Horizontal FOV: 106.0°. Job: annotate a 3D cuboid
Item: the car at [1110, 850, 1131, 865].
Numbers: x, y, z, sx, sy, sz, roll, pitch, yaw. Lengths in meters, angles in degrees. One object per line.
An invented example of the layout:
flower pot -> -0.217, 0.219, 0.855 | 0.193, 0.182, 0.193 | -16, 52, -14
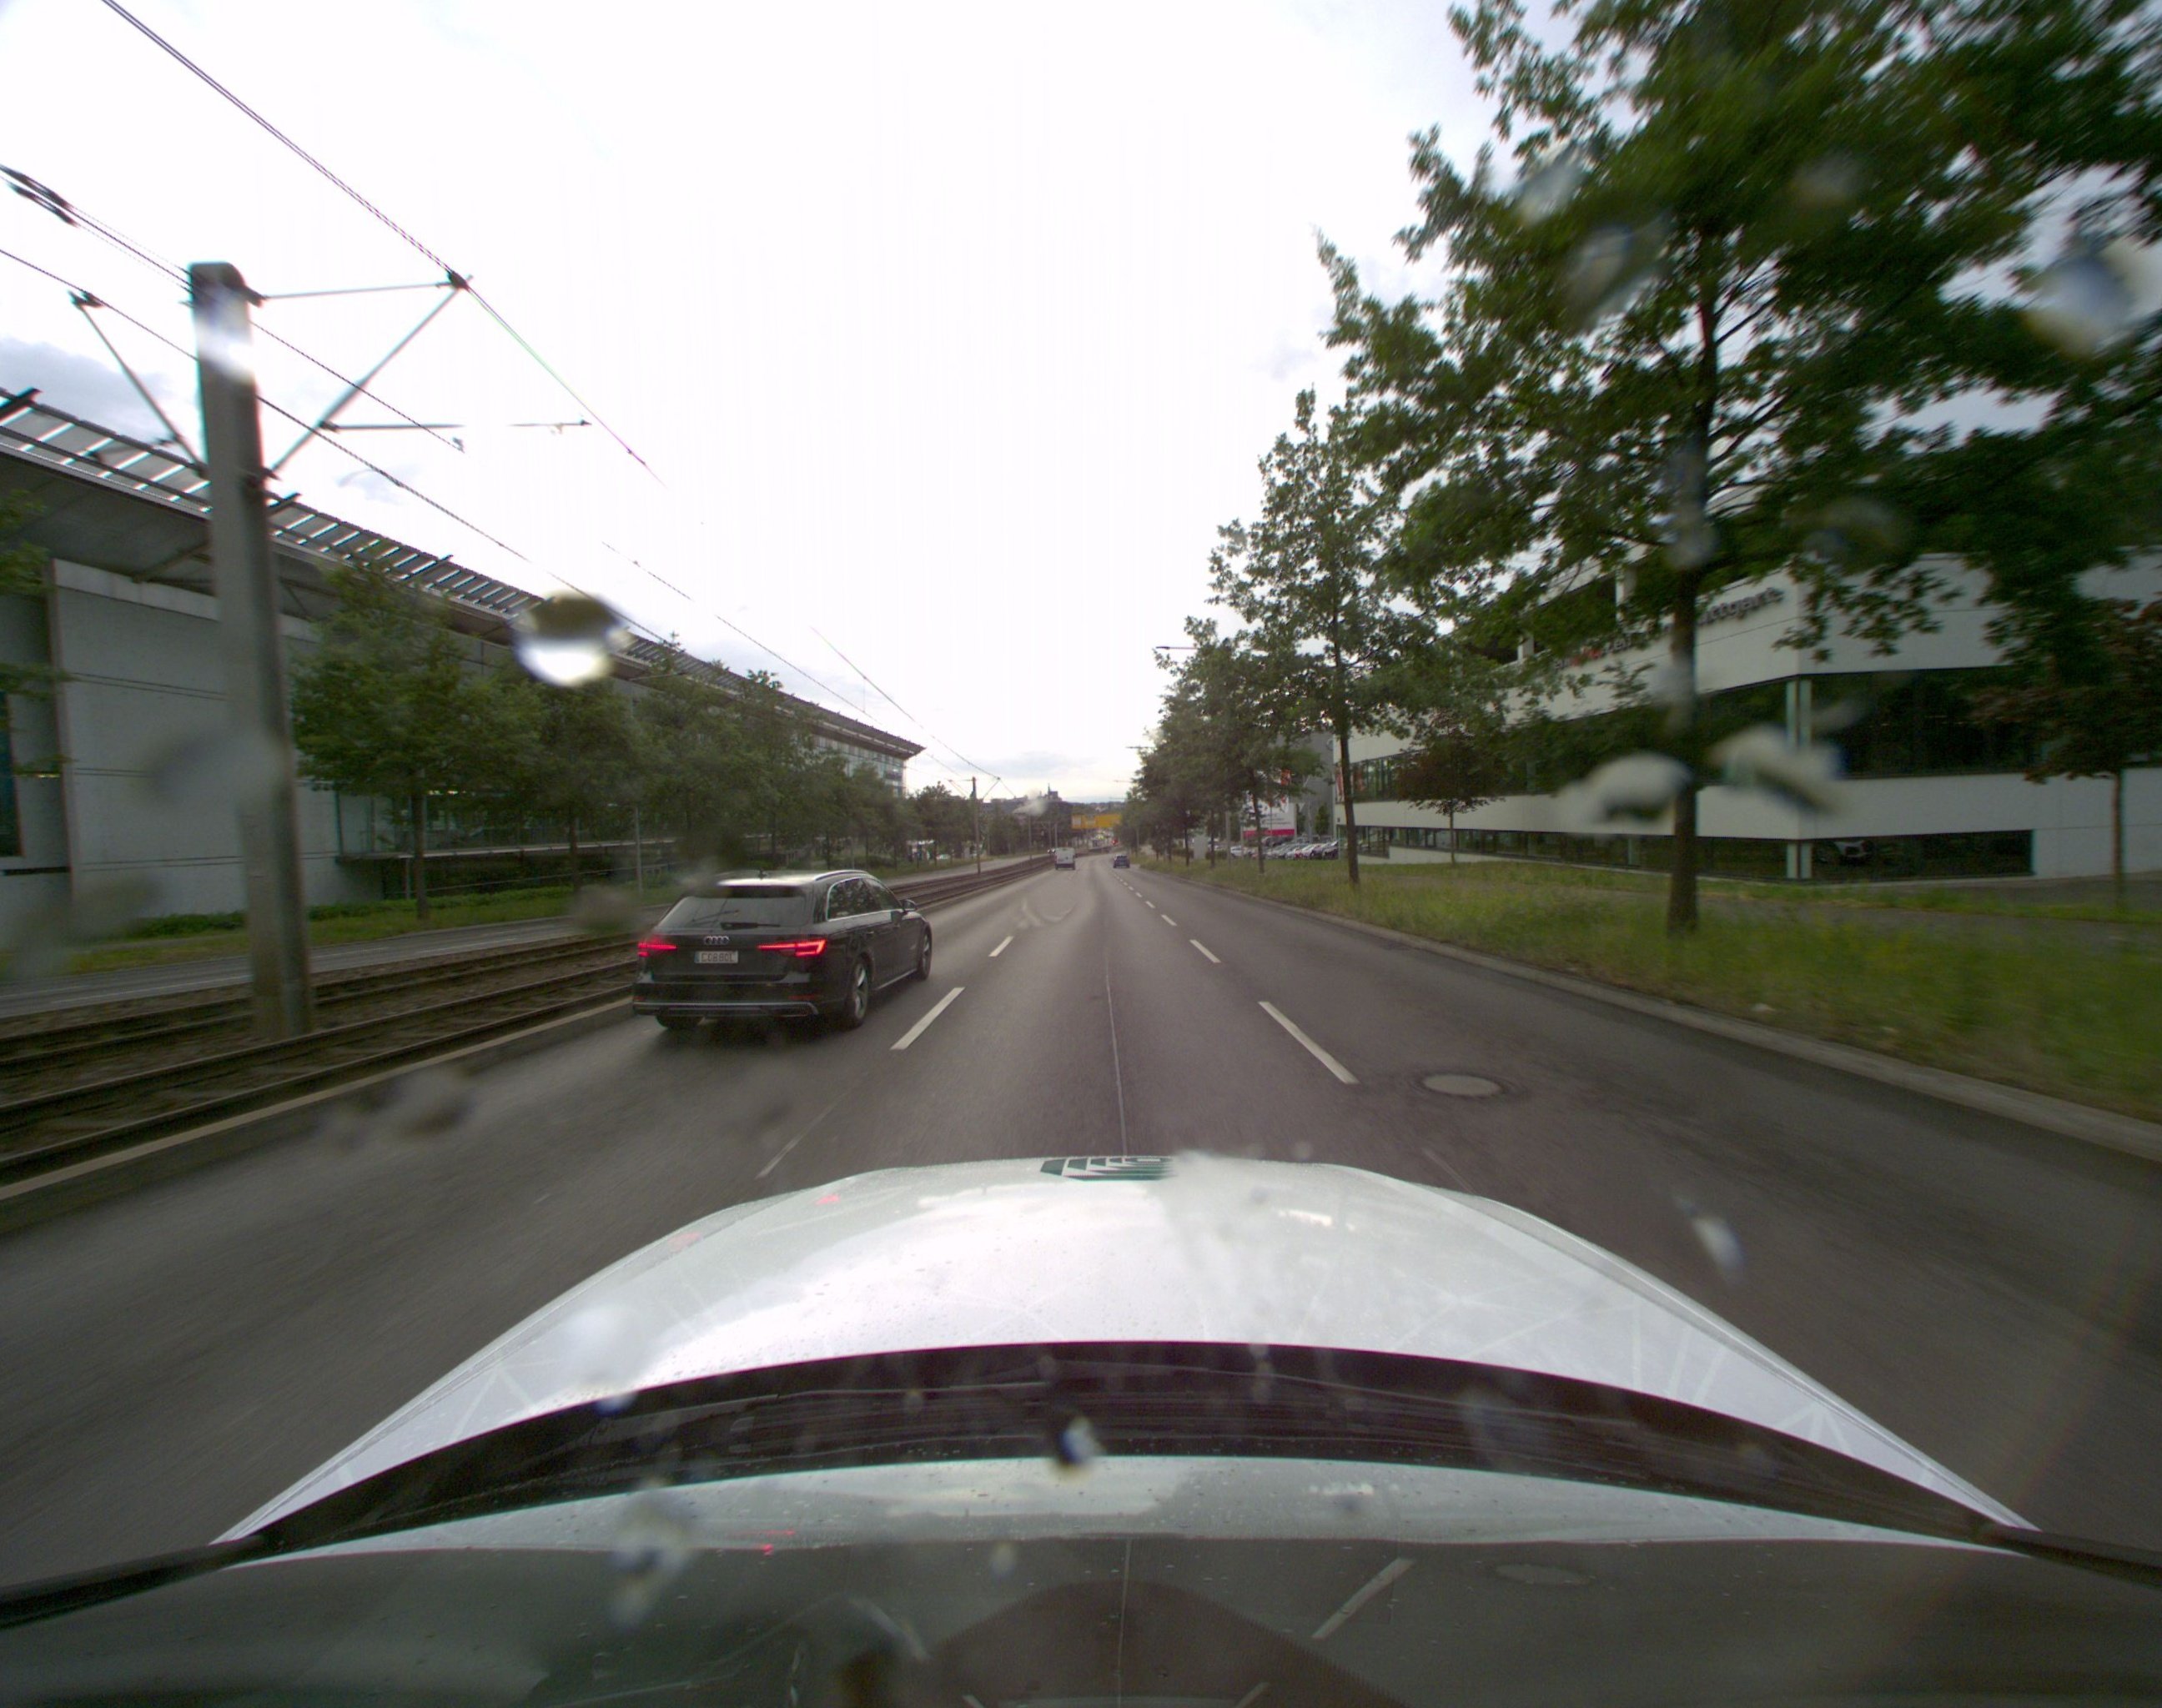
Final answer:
car -> 4.375, 0.376, 90.391 | 2.016, 1.623, 3.997 | 0, -1, -2

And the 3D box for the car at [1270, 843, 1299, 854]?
car -> 31.184, -0.874, 124.839 | 4.093, 1.574, 1.692 | -2, 1, -1

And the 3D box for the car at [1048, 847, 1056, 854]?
car -> -8.064, -0.976, 228.477 | 1.875, 1.520, 4.407 | -5, 1, 3

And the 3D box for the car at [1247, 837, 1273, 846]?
car -> 30.782, -2.185, 140.403 | 4.093, 1.574, 1.692 | -1, 1, -1

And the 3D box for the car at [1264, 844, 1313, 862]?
car -> 21.015, -0.111, 82.667 | 4.448, 1.551, 1.930 | -3, -1, -1

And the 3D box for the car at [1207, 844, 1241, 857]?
car -> 20.247, -0.462, 115.114 | 4.506, 1.594, 1.692 | -2, -1, -1

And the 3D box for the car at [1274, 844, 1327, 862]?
car -> 20.669, -0.067, 76.883 | 4.448, 1.456, 1.930 | -3, -1, -1

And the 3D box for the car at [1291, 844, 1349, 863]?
car -> 20.707, -0.061, 70.726 | 4.384, 1.348, 1.930 | -3, -1, -1

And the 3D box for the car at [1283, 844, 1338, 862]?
car -> 20.775, -0.116, 73.852 | 4.448, 1.456, 1.930 | -2, -1, -1

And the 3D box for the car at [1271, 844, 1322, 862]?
car -> 21.024, -0.111, 79.685 | 4.448, 1.528, 1.930 | -3, -1, -1

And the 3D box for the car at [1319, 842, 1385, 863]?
car -> 20.419, -0.117, 61.429 | 4.308, 1.378, 1.835 | -3, -1, -3

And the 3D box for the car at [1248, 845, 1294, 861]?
car -> 20.653, -0.112, 88.610 | 4.453, 1.551, 1.928 | -2, -1, -5

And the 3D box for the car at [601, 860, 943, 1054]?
car -> -2.803, 0.819, 8.669 | 1.757, 1.463, 4.628 | 0, 0, 2

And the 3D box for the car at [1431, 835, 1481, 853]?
car -> 38.192, -0.985, 82.987 | 4.265, 1.593, 1.825 | -2, -1, -2

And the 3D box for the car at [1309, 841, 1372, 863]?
car -> 20.616, -0.162, 64.806 | 4.383, 1.500, 2.040 | -3, -1, 0

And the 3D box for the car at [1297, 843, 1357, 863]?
car -> 20.440, -0.090, 67.722 | 4.383, 1.427, 1.890 | -3, -1, 0

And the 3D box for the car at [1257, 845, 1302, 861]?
car -> 20.813, -0.092, 85.566 | 4.265, 1.593, 1.825 | -2, -1, -2

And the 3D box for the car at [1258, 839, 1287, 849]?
car -> 30.007, -1.595, 127.441 | 4.093, 1.574, 1.825 | -1, 1, -1

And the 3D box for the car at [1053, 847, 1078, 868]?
car -> -1.672, 0.364, 85.588 | 2.504, 2.177, 5.146 | 0, -1, -2

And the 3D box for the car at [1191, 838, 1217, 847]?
car -> 21.251, -1.991, 140.427 | 4.246, 1.574, 1.692 | -1, 1, -1

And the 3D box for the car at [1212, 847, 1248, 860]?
car -> 19.182, -0.059, 104.867 | 4.103, 1.594, 1.943 | -1, -1, -8

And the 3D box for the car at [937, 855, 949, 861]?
car -> -36.645, 0.983, 216.269 | 2.006, 1.510, 3.961 | 0, -1, -31

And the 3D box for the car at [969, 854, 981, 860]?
car -> -28.557, 0.758, 219.585 | 2.003, 1.510, 3.967 | 0, -1, -25

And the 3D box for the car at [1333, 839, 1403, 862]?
car -> 20.769, -0.216, 59.115 | 4.384, 1.482, 1.930 | -2, -1, -1
